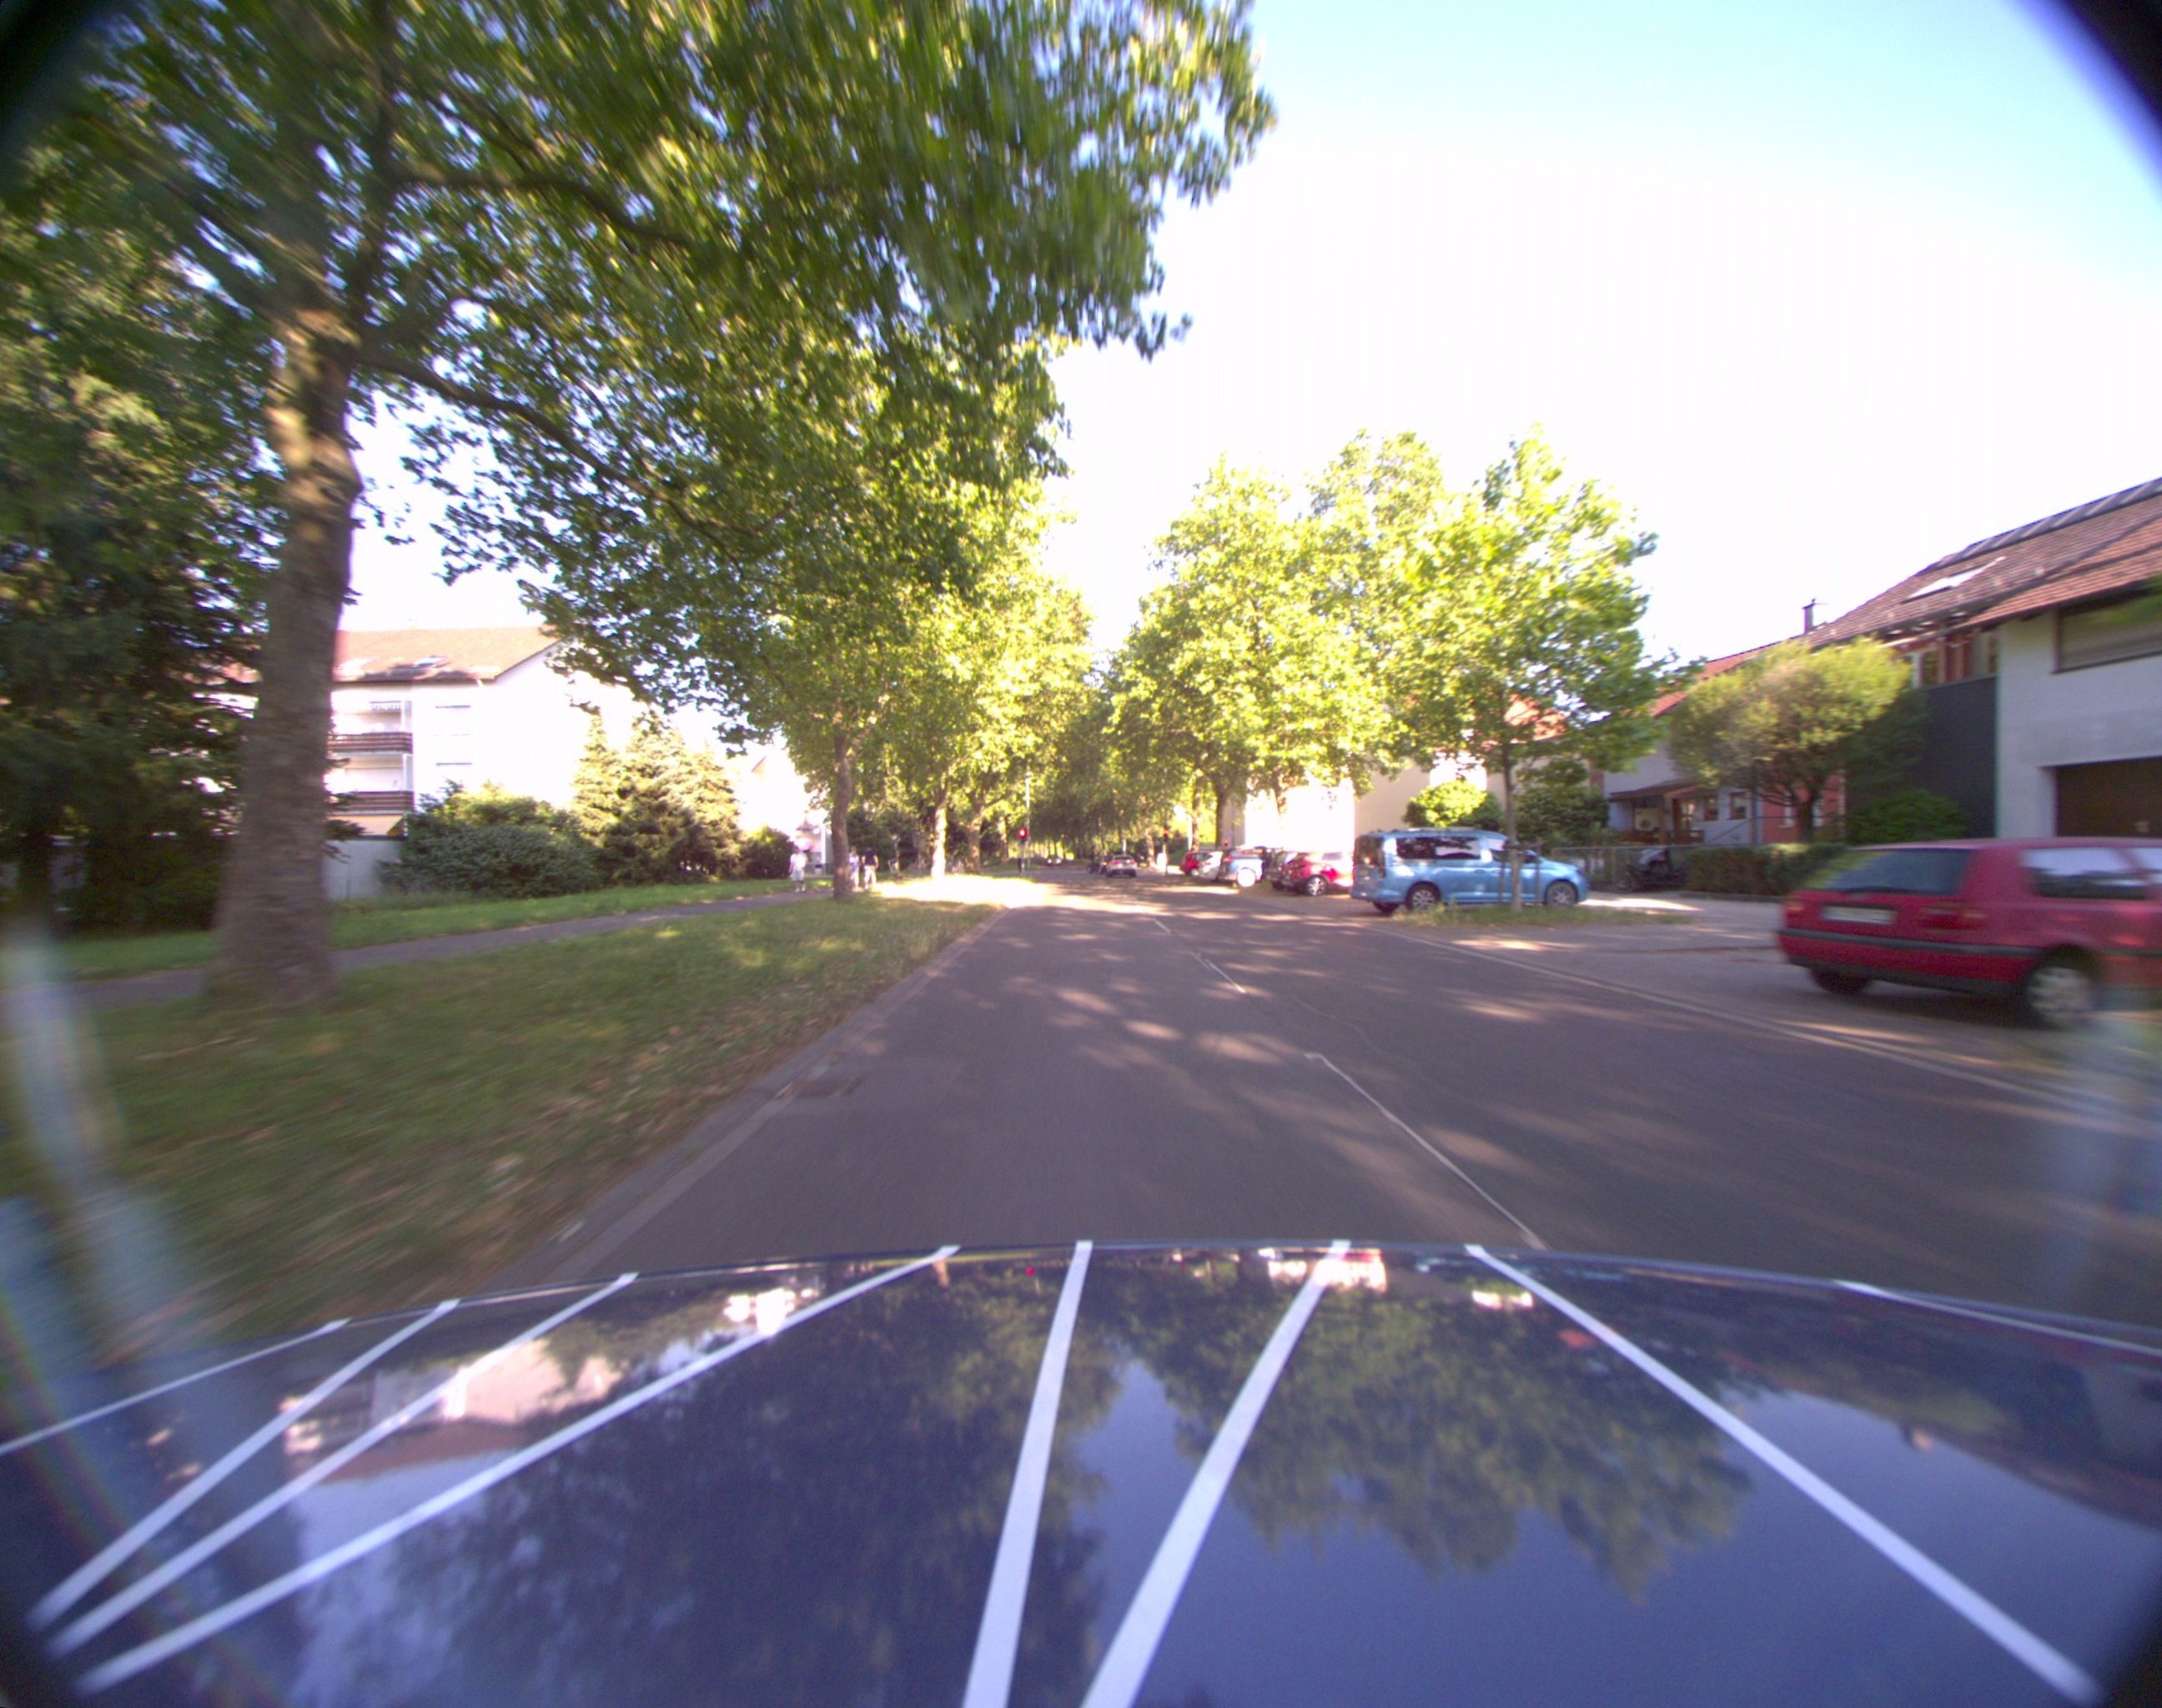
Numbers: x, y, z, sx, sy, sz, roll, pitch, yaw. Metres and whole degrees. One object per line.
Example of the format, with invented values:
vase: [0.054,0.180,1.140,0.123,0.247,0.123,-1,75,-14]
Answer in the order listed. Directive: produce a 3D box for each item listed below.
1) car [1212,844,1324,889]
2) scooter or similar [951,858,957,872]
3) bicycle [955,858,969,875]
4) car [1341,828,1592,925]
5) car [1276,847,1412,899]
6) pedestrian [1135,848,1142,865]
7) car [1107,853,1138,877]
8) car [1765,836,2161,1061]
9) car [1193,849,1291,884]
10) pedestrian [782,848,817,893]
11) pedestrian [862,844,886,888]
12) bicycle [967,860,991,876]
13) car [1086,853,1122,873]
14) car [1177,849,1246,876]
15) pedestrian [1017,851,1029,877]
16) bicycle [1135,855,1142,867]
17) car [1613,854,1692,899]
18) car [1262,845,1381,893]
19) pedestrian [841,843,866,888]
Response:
car: [7.626,0.483,31.200,4.102,1.706,1.831,-1,1,-2]
scooter or similar: [-11.623,1.003,69.774,0.383,1.189,1.254,-2,0,-4]
bicycle: [-7.935,0.855,50.431,0.447,1.076,2.004,1,-2,-22]
car: [8.199,0.448,16.448,4.398,1.813,1.995,-2,0,-3]
car: [8.263,0.573,24.065,3.651,1.508,1.781,-2,0,-2]
pedestrian: [5.484,0.264,72.299,0.510,1.523,1.033,-1,4,-2]
car: [2.731,0.696,50.425,1.721,1.492,4.093,-1,0,-1]
car: [8.294,0.647,6.279,3.882,1.509,1.664,-2,1,-3]
car: [7.621,0.561,36.228,4.173,1.492,1.875,-2,1,-4]
pedestrian: [-10.574,0.607,28.570,0.780,1.640,0.940,0,1,21]
pedestrian: [-8.657,0.501,31.773,0.763,1.835,0.787,-1,1,2]
bicycle: [-6.924,0.939,51.426,1.715,1.028,0.447,-1,-2,33]
car: [1.719,0.645,58.654,1.732,1.455,4.063,-1,1,-13]
car: [7.879,0.492,46.176,3.775,1.526,1.831,-2,1,-4]
pedestrian: [-3.820,0.664,49.873,0.637,1.709,0.825,1,0,-10]
bicycle: [5.484,0.664,72.458,0.510,1.036,2.151,1,2,-1]
car: [14.889,0.584,19.818,1.518,1.110,0.700,-1,1,-1]
car: [8.350,0.503,26.566,3.522,1.508,1.726,-2,0,-6]
pedestrian: [-9.516,0.473,31.808,0.756,1.837,0.802,-1,1,2]
